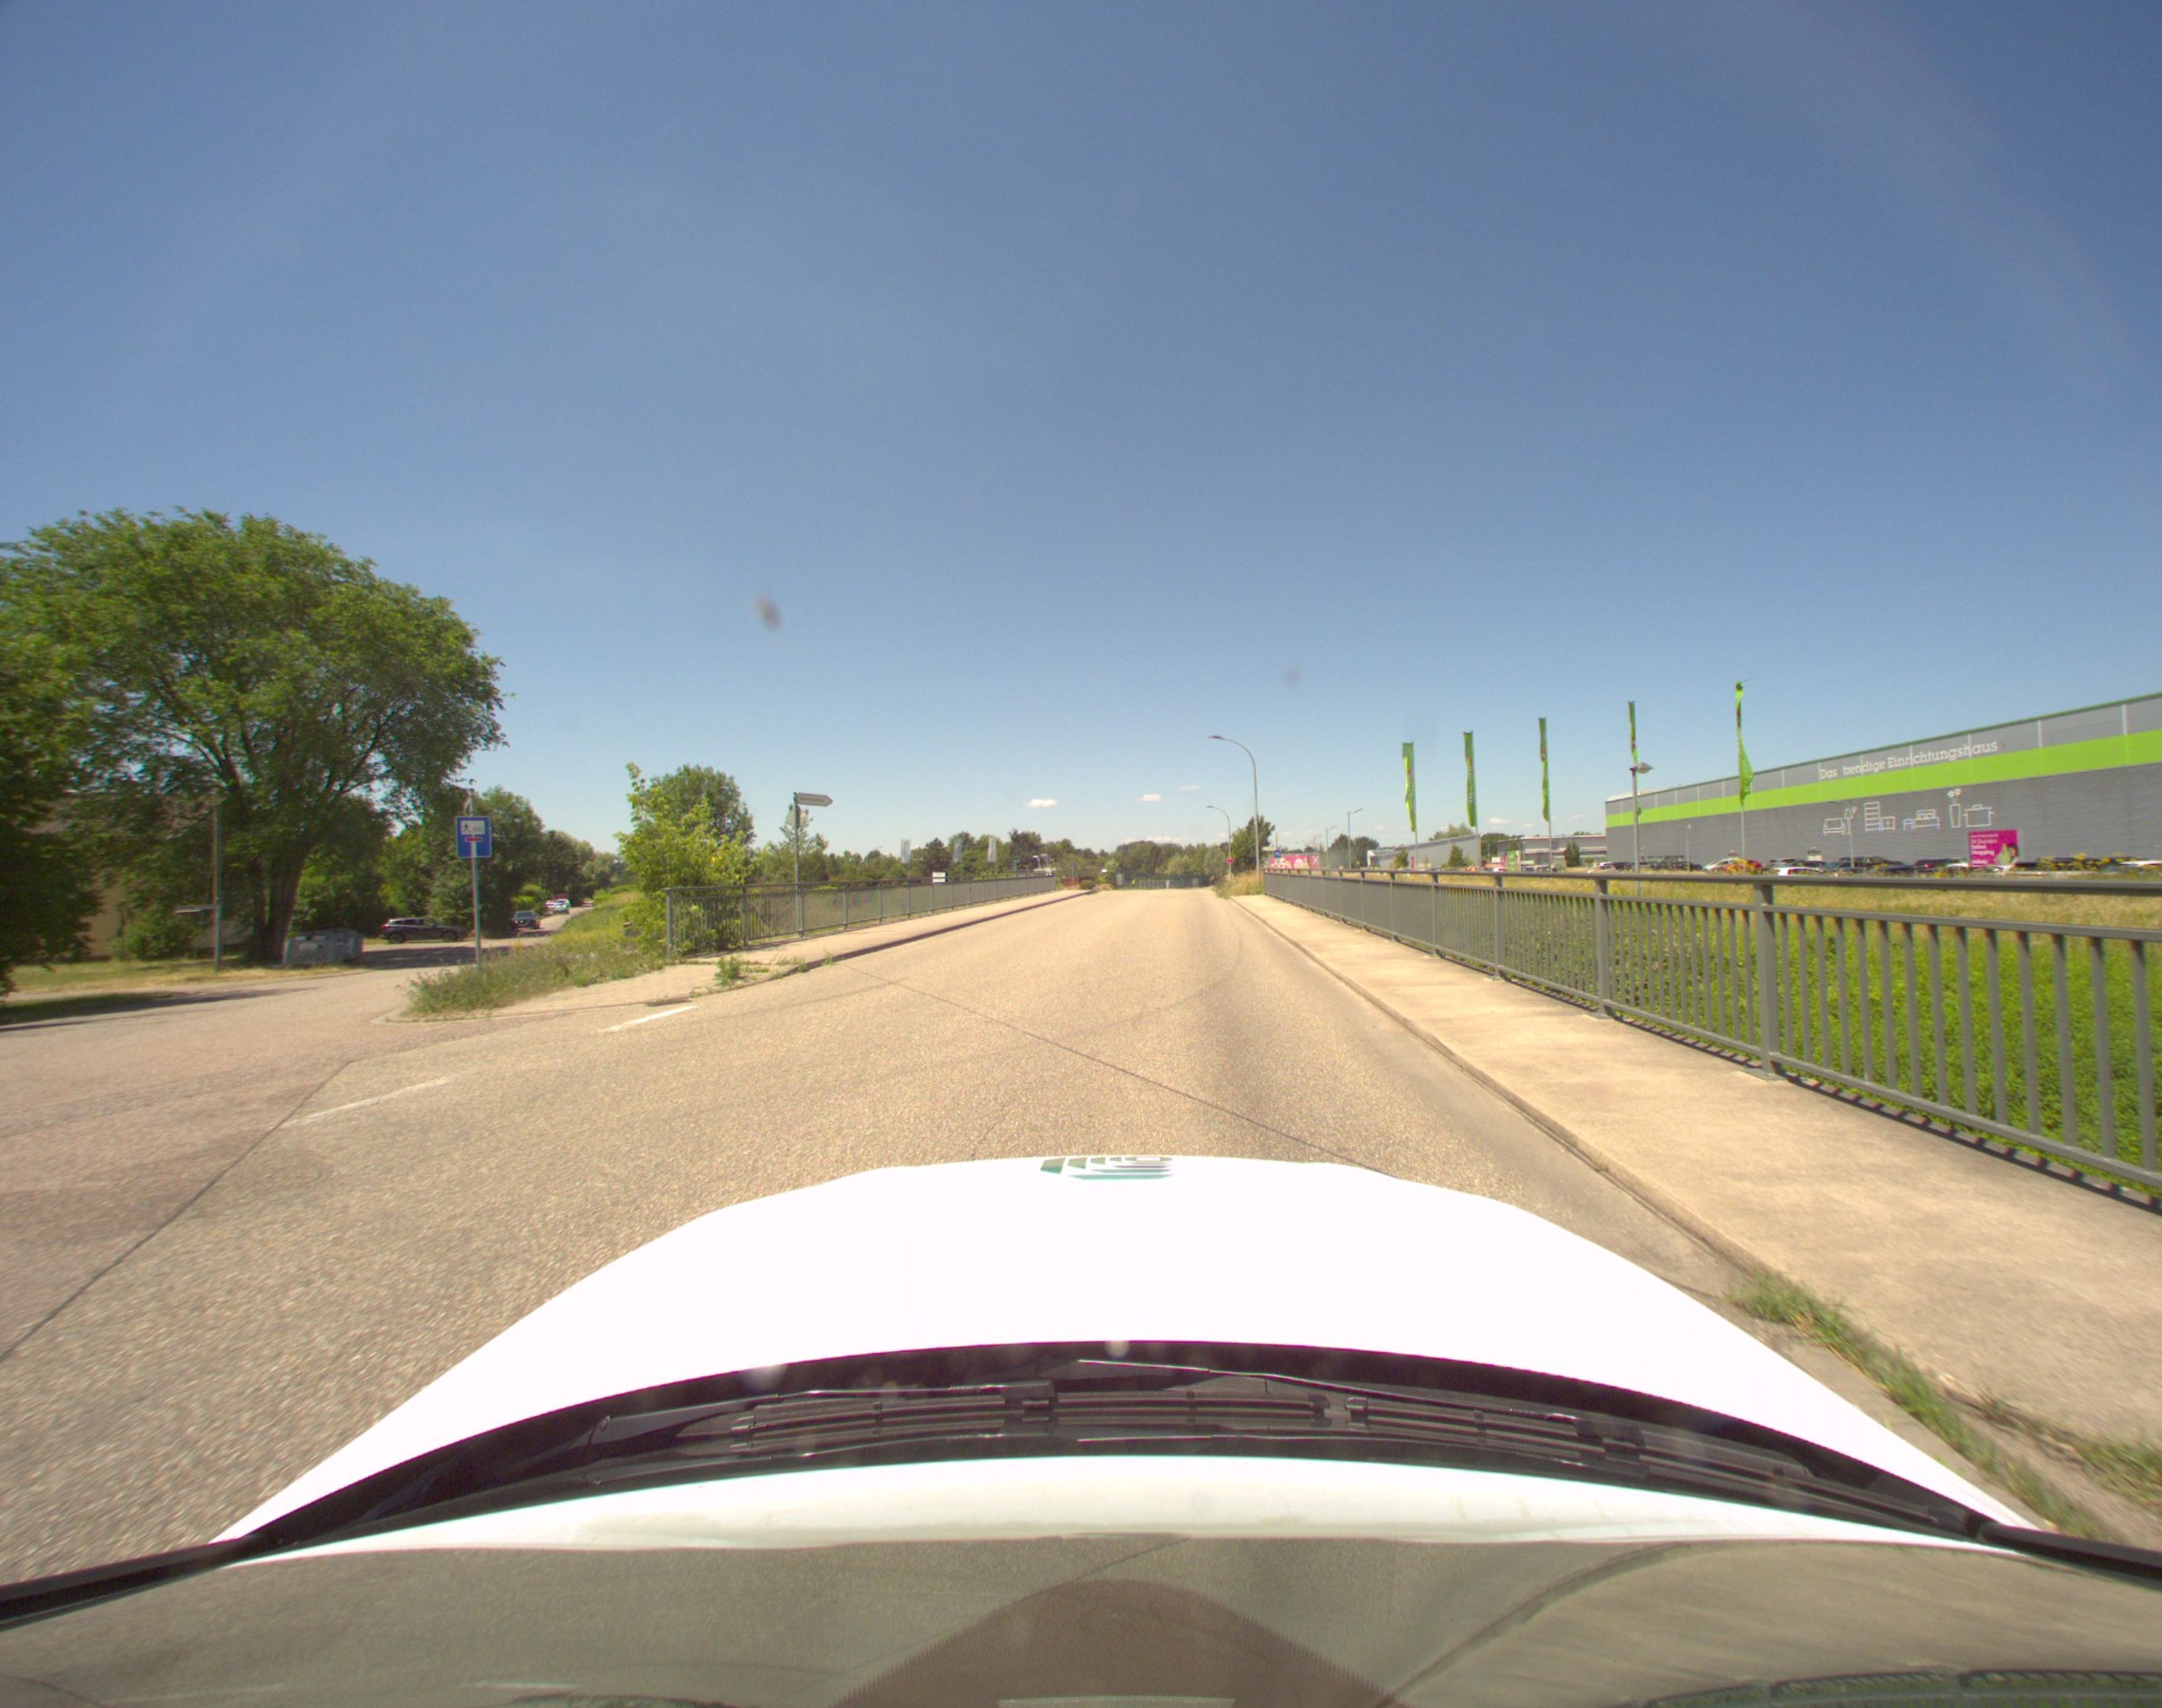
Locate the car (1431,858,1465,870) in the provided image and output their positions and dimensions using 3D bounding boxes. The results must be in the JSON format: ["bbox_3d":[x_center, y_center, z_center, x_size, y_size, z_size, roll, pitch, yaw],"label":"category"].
[{"bbox_3d":[47.835,1.319,106.132,3.709,1.570,1.897,-1,-1,13],"label":"car"}]

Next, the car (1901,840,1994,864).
[{"bbox_3d":[66.110,-0.141,62.211,4.626,1.519,2.004,-2,-3,7],"label":"car"}]

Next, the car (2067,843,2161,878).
[{"bbox_3d":[48.901,0.267,37.534,3.959,1.505,1.954,-3,-2,13],"label":"car"}]

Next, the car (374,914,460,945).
[{"bbox_3d":[-43.322,4.902,53.237,4.012,1.571,1.981,-3,0,-30],"label":"car"}]

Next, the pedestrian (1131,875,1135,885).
[{"bbox_3d":[10.142,5.108,158.860,0.601,1.839,0.808,-3,-3,15],"label":"pedestrian"}]

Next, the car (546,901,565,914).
[{"bbox_3d":[-72.240,7.373,112.019,2.009,1.596,3.956,-2,-1,-35],"label":"car"}]

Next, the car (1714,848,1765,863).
[{"bbox_3d":[74.276,0.153,91.885,3.965,1.519,2.004,-2,-3,8],"label":"car"}]

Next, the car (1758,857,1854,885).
[{"bbox_3d":[45.180,1.054,50.861,3.959,1.531,1.954,-3,-2,13],"label":"car"}]

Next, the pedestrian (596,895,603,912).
[{"bbox_3d":[-59.382,6.084,100.372,0.616,2.013,0.618,-2,-1,-35],"label":"pedestrian"}]

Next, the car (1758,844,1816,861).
[{"bbox_3d":[72.007,-0.175,83.099,3.965,1.519,2.004,-2,-3,8],"label":"car"}]

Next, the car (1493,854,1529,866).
[{"bbox_3d":[60.039,0.864,113.748,3.960,1.519,2.006,-2,-3,12],"label":"car"}]

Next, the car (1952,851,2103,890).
[{"bbox_3d":[42.061,0.755,36.308,3.959,1.547,1.922,-3,-2,13],"label":"car"}]

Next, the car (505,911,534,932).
[{"bbox_3d":[-48.825,5.854,70.819,2.009,1.596,3.956,-2,-1,-35],"label":"car"}]

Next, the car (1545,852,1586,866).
[{"bbox_3d":[61.088,0.678,102.728,3.966,1.519,2.003,-2,-3,6],"label":"car"}]

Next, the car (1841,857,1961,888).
[{"bbox_3d":[42.926,0.983,42.728,3.959,1.462,1.954,-3,-2,13],"label":"car"}]
